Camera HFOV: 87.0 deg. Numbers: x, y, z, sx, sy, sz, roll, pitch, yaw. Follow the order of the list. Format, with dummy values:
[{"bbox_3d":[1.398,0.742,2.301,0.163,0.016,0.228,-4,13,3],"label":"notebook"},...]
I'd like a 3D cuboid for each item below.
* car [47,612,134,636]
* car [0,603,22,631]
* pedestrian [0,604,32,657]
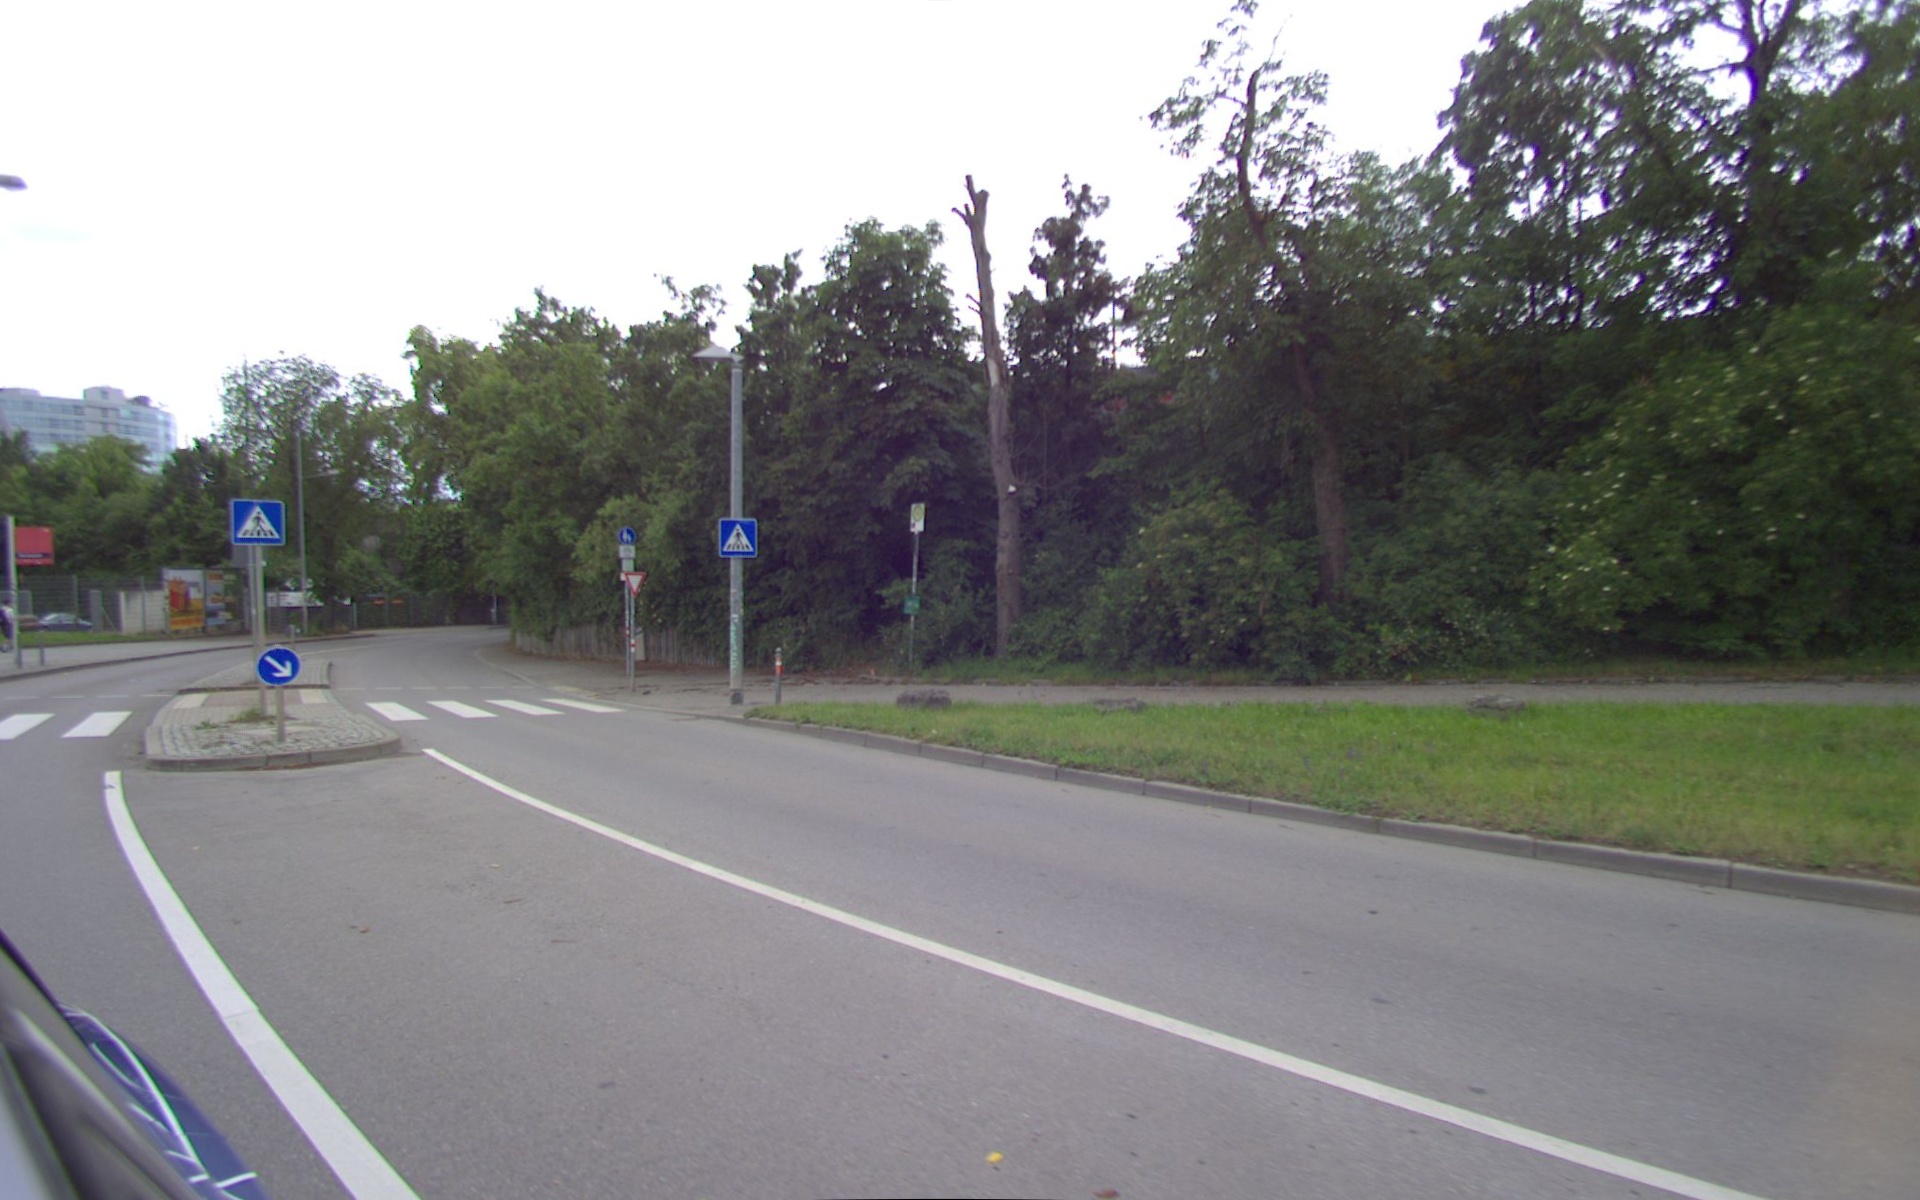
[{"bbox_3d":[-48.016,1.325,55.960,1.460,1.262,3.349,1,-2,19],"label":"car"},{"bbox_3d":[-55.873,0.940,57.295,1.553,1.543,3.787,1,-1,19],"label":"car"},{"bbox_3d":[-31.567,0.984,33.477,0.840,1.696,0.939,1,2,5],"label":"pedestrian"}]
